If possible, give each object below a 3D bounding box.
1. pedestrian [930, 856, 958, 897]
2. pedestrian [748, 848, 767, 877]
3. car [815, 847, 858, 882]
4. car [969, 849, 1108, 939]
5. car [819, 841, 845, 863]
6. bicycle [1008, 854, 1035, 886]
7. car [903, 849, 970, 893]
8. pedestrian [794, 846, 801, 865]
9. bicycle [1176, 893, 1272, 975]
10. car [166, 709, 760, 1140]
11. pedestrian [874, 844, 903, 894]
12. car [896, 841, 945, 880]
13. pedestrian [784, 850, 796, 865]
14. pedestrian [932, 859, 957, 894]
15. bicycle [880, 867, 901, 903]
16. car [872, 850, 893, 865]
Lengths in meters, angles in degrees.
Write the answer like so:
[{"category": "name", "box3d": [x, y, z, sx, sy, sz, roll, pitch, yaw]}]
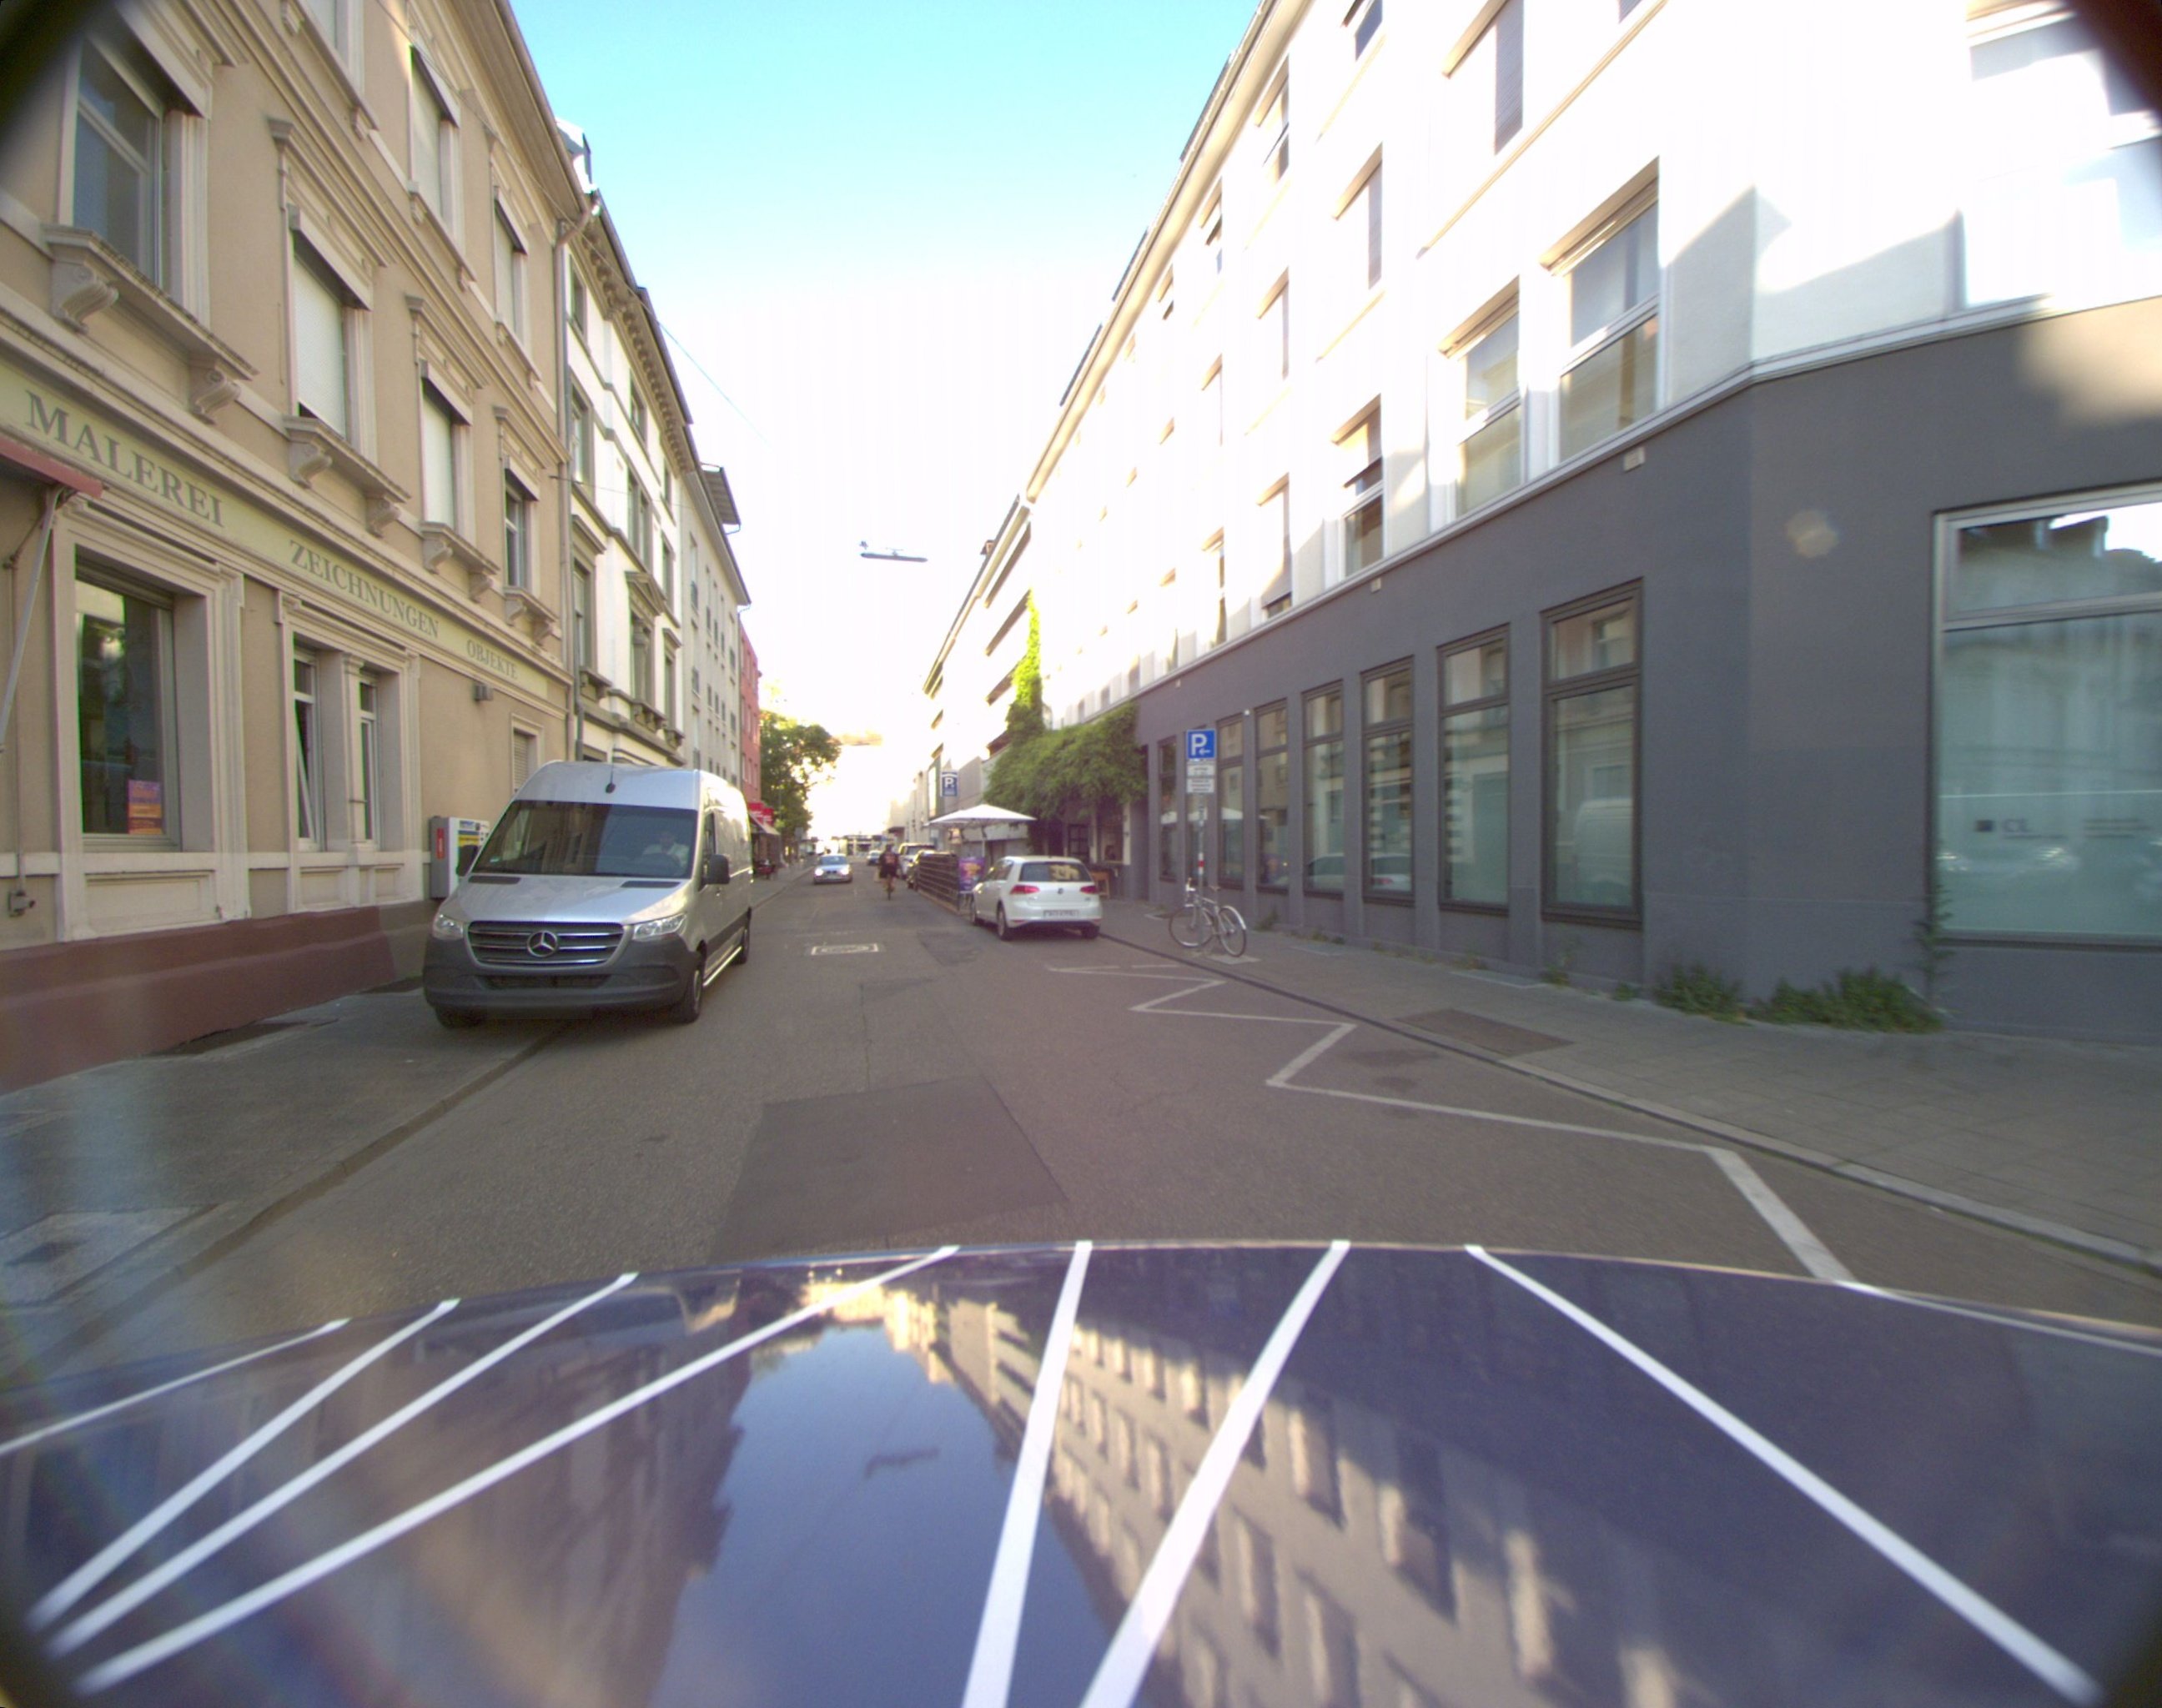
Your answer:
[{"category": "pedestrian", "box3d": [-4.420, 0.699, 24.478, 0.784, 1.279, 0.914, 0, 1, -17]}, {"category": "pedestrian", "box3d": [-16.878, 0.434, 39.648, 0.828, 1.477, 0.660, 0, 1, -18]}, {"category": "car", "box3d": [-11.944, 0.455, 37.109, 1.791, 1.516, 3.993, -3, 2, -18]}, {"category": "car", "box3d": [-0.941, 0.628, 14.277, 1.664, 1.406, 3.875, 0, 1, -18]}, {"category": "car", "box3d": [-23.884, -0.202, 73.090, 2.001, 2.002, 3.994, -1, 1, -13]}, {"category": "bicycle", "box3d": [-2.298, 0.591, 29.170, 0.645, 1.153, 1.791, -1, 1, -16]}, {"category": "car", "box3d": [-5.839, 0.623, 30.312, 1.889, 1.559, 4.762, 2, 0, -19]}, {"category": "pedestrian", "box3d": [-24.477, 0.143, 65.667, 0.438, 1.637, 0.557, 1, 1, -10]}, {"category": "bicycle", "box3d": [1.884, 1.033, 10.266, 0.598, 0.900, 1.641, -1, 1, -16]}, {"category": "car", "box3d": [-4.856, 0.359, 7.569, 2.286, 2.425, 6.193, -1, 1, -16]}, {"category": "pedestrian", "box3d": [-6.070, 0.456, 23.979, 0.832, 1.536, 1.081, -1, 1, -16]}, {"category": "car", "box3d": [-8.773, 0.321, 41.176, 2.002, 1.928, 4.842, 1, 0, -19]}, {"category": "pedestrian", "box3d": [-24.984, 0.315, 65.317, 0.930, 1.242, 0.362, 1, 1, -20]}, {"category": "pedestrian", "box3d": [-4.562, 0.747, 25.468, 0.552, 1.159, 0.742, 0, 1, 15]}, {"category": "bicycle", "box3d": [-6.037, 0.955, 24.029, 0.540, 1.002, 1.978, -1, 1, -16]}, {"category": "car", "box3d": [-20.237, 0.351, 77.526, 2.001, 1.409, 4.551, 1, 1, -14]}]
